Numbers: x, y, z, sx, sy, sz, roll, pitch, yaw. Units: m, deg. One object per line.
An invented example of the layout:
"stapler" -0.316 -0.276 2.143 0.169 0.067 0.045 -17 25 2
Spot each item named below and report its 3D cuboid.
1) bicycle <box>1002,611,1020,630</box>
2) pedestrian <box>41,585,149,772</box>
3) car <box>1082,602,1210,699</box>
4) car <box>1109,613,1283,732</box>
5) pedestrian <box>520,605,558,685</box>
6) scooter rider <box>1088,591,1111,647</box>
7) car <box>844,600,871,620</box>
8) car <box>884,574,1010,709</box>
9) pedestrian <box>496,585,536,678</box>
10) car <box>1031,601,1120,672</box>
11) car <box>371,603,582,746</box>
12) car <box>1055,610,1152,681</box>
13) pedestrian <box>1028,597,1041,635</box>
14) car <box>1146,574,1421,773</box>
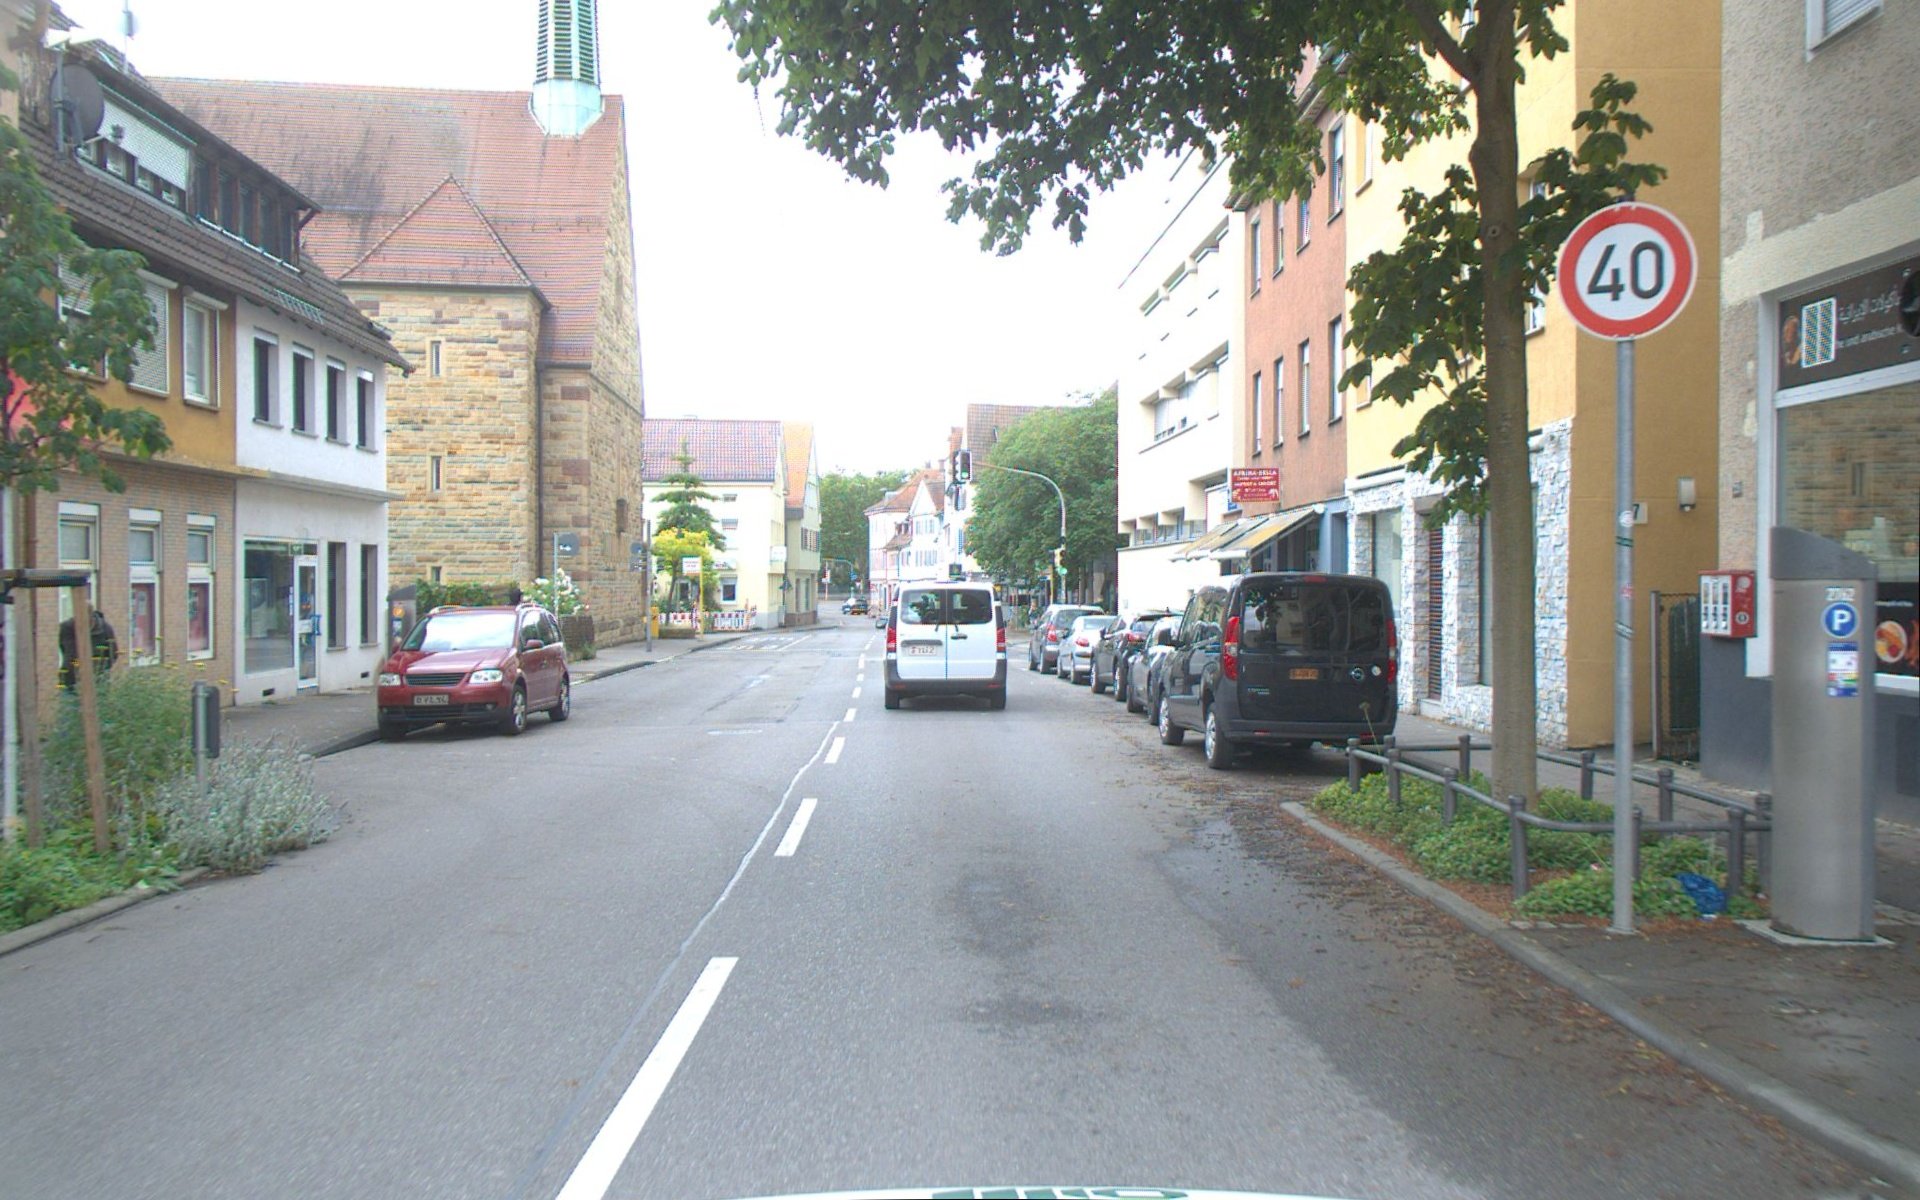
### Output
"bicycle" 3.117 1.226 100.973 0.493 1.126 1.627 -1 0 -22
"pedestrian" -7.904 0.697 15.148 0.718 1.657 0.755 0 1 -15
"car" 3.211 0.829 29.210 1.570 1.545 4.207 -1 0 -3
"car" 3.211 0.938 23.342 1.715 1.430 4.510 -1 0 -1
"pedestrian" -8.508 0.903 33.459 0.559 1.581 0.696 1 0 -2
"scooter rider" 4.254 0.580 50.419 0.445 1.660 0.502 -2 -1 -16
"car" -10.939 1.070 176.092 1.904 2.049 3.981 1 0 -17
"car" -0.220 0.610 26.012 1.834 1.945 3.999 0 0 -1
"pedestrian" -9.180 0.634 34.191 0.559 1.880 0.696 3 0 -2
"car" 2.698 0.820 39.293 1.677 1.587 3.783 0 0 -3
"car" -6.392 0.914 22.364 1.669 1.601 4.449 -2 1 -2
"car" 2.963 0.919 34.698 1.520 1.356 3.810 0 0 -3
"pedestrian" 3.440 0.749 76.537 0.589 1.746 0.860 0 0 5
"car" 3.213 0.673 17.328 1.783 1.812 4.400 0 0 -3
